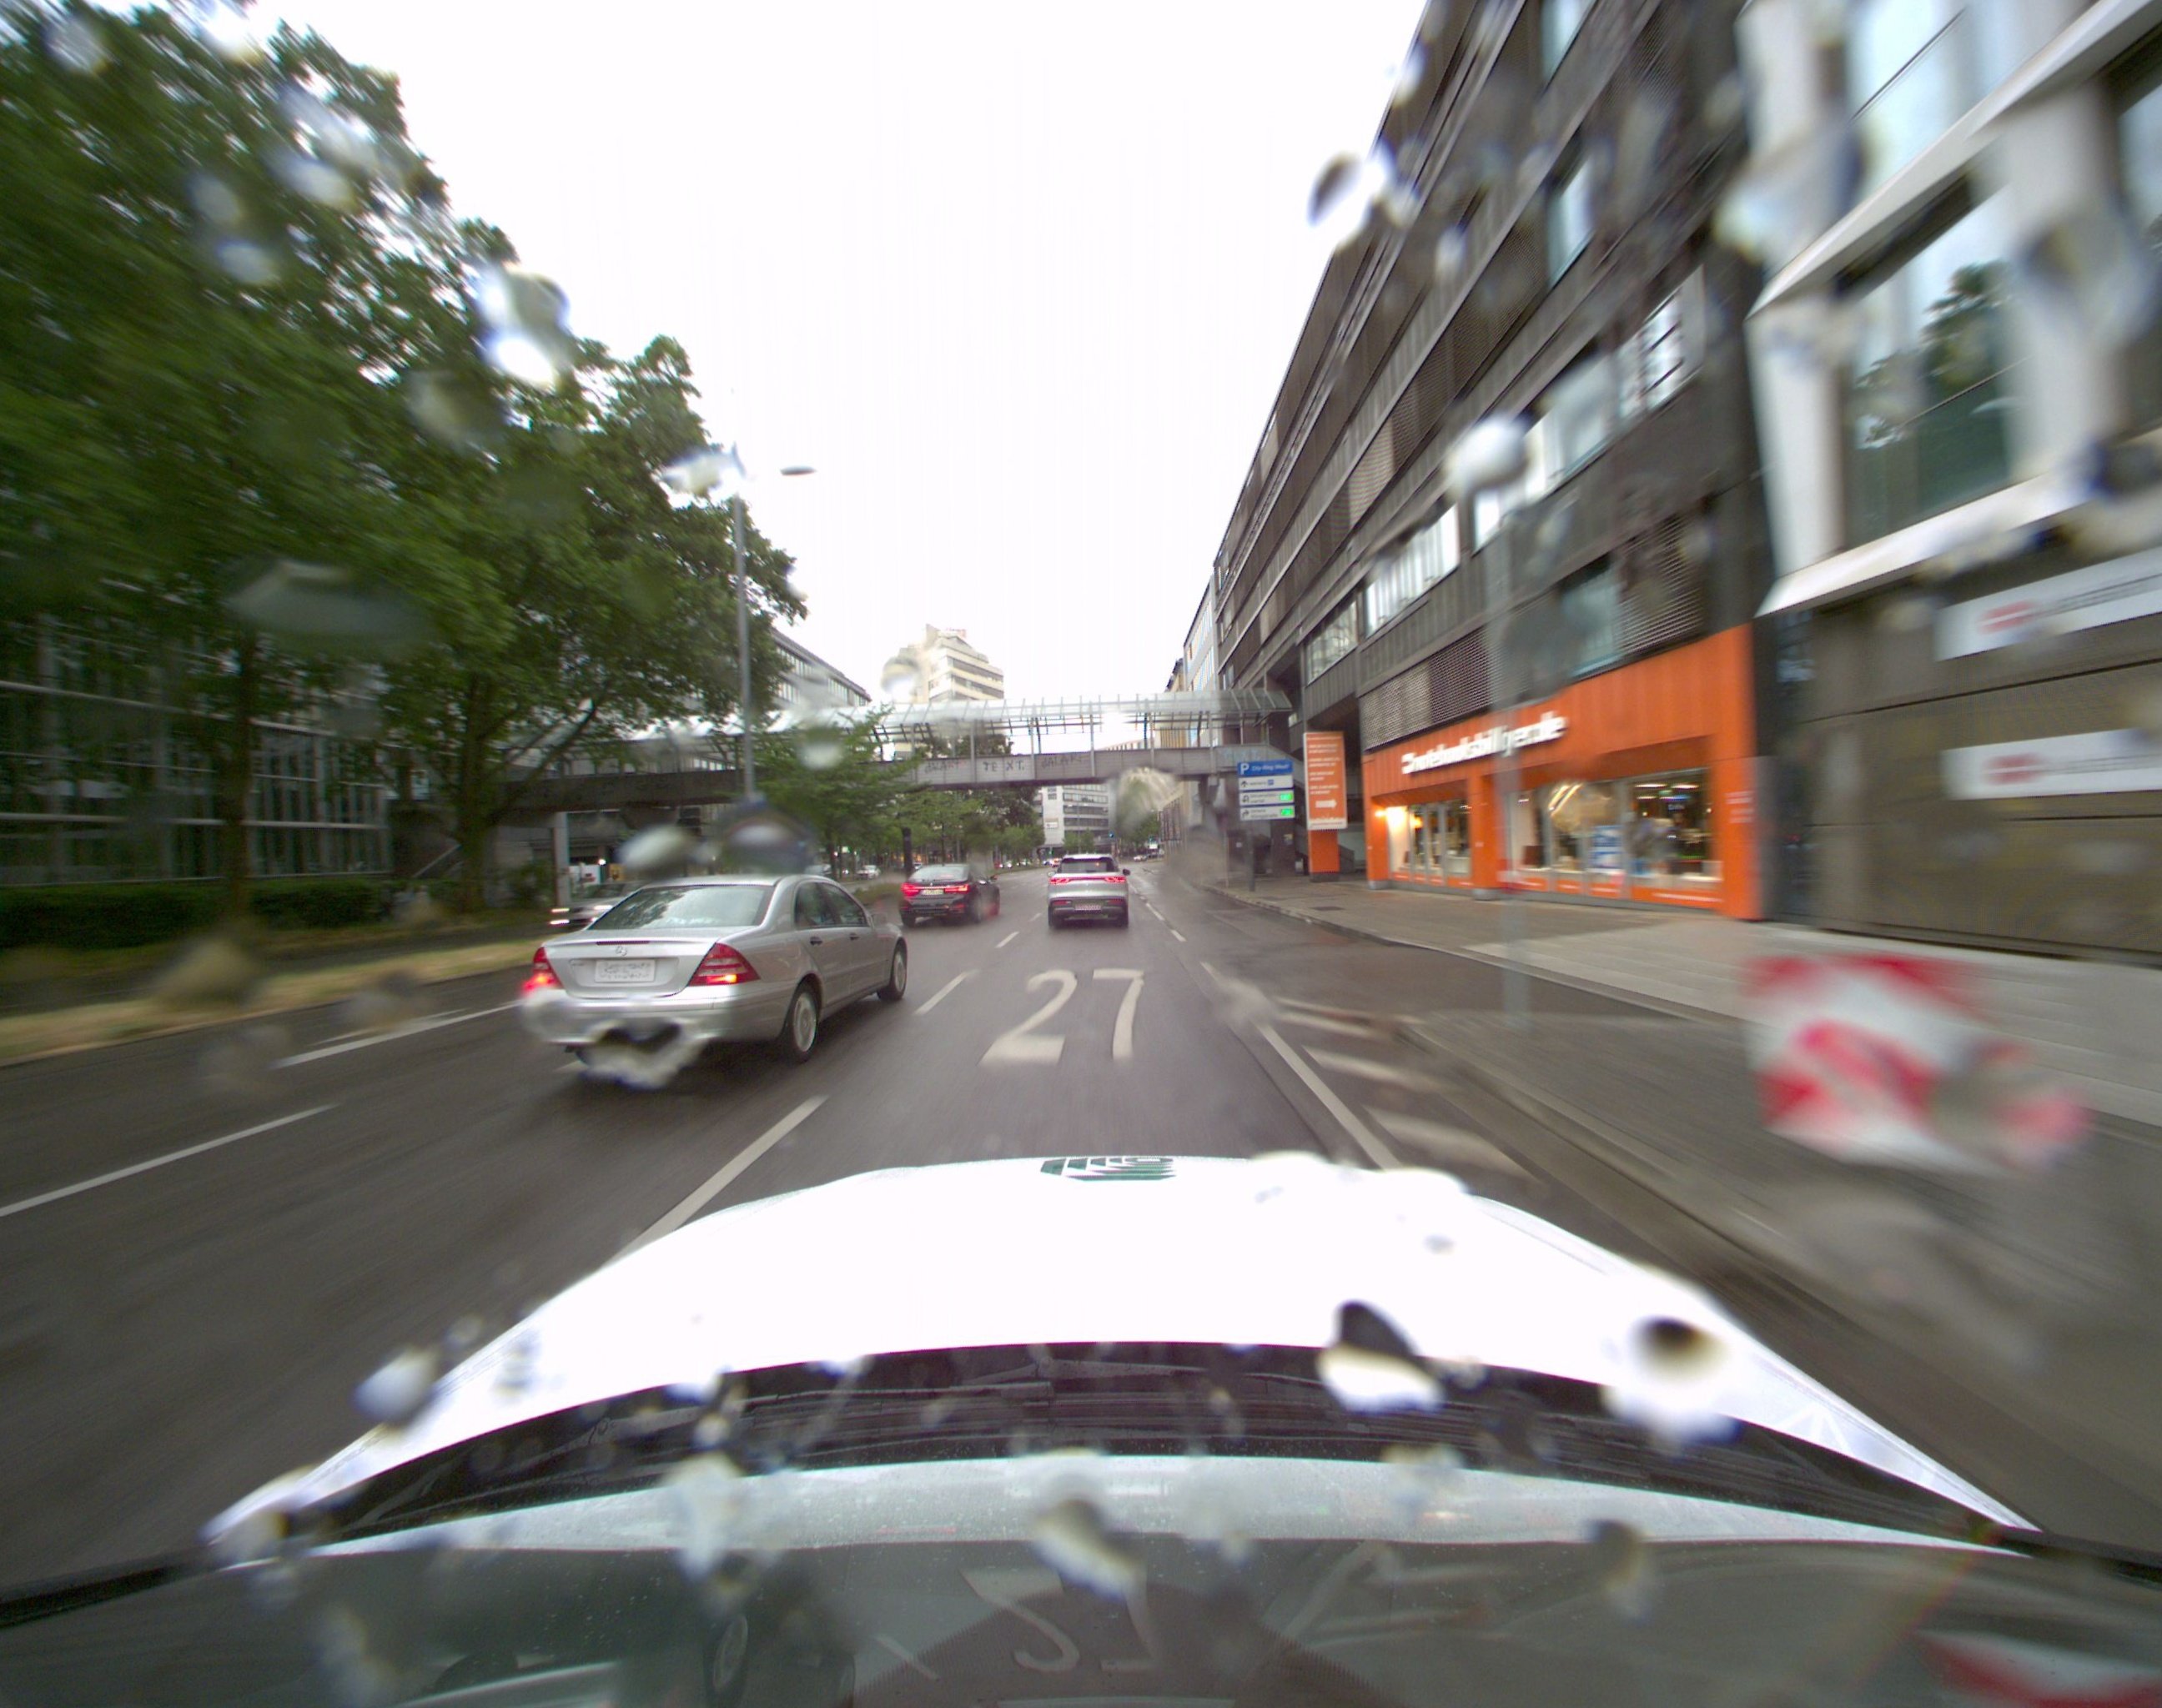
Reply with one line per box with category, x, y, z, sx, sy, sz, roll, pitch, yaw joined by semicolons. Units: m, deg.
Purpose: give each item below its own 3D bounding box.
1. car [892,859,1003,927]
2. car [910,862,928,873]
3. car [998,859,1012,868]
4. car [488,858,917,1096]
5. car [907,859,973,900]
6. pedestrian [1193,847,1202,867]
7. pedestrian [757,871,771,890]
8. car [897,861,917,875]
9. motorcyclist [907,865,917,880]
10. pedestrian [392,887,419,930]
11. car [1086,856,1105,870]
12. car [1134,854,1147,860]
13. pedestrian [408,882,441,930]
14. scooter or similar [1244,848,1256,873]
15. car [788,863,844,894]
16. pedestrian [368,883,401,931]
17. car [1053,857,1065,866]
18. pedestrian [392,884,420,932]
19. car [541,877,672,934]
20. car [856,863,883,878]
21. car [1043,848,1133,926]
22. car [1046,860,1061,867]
car;-3.301;0.912;21.129;1.865;1.479;4.880;-2;0;2
car;-21.303;1.758;107.057;1.618;1.460;3.962;-1;0;0
car;-11.956;1.567;128.500;1.616;1.311;3.622;-3;-1;4
car;-2.857;0.821;7.365;1.666;1.479;4.363;-1;-1;2
car;-5.509;0.978;32.249;1.767;1.457;4.001;-3;-1;1
pedestrian;10.498;0.252;73.616;0.633;1.772;0.790;-3;-1;2
pedestrian;-29.044;2.403;74.659;0.740;1.715;1.057;-2;0;1
car;-21.485;1.722;100.753;1.618;1.611;4.231;-1;0;0
motorcyclist;-15.984;1.738;77.193;0.635;1.418;0.970;-3;-1;2
pedestrian;-26.771;2.154;32.285;0.557;1.686;0.511;-2;0;1
car;1.732;1.092;97.254;1.802;1.578;4.007;-2;0;6
car;14.919;0.780;204.735;1.565;1.538;4.025;-2;0;32
pedestrian;-25.605;2.027;31.772;0.594;1.807;0.760;-2;0;1
scooter or similar;8.915;0.347;43.033;0.348;1.256;1.395;-2;0;2
car;-17.979;1.630;55.488;1.994;1.768;5.183;-6;0;-1
pedestrian;-27.526;2.093;32.191;0.720;1.807;0.618;-2;0;1
car;-3.559;1.188;133.231;1.646;1.342;4.003;-2;0;3
pedestrian;-26.222;2.085;31.630;0.603;1.807;0.511;-2;0;1
car;-14.711;1.546;25.533;1.657;1.464;4.078;-4;-1;-1
car;-21.754;1.670;83.900;1.618;1.433;4.444;-3;-1;0
car;0.199;0.725;19.452;1.894;1.621;4.001;-2;-1;1
car;-5.872;1.963;172.356;1.610;1.453;4.183;-3;-1;20
